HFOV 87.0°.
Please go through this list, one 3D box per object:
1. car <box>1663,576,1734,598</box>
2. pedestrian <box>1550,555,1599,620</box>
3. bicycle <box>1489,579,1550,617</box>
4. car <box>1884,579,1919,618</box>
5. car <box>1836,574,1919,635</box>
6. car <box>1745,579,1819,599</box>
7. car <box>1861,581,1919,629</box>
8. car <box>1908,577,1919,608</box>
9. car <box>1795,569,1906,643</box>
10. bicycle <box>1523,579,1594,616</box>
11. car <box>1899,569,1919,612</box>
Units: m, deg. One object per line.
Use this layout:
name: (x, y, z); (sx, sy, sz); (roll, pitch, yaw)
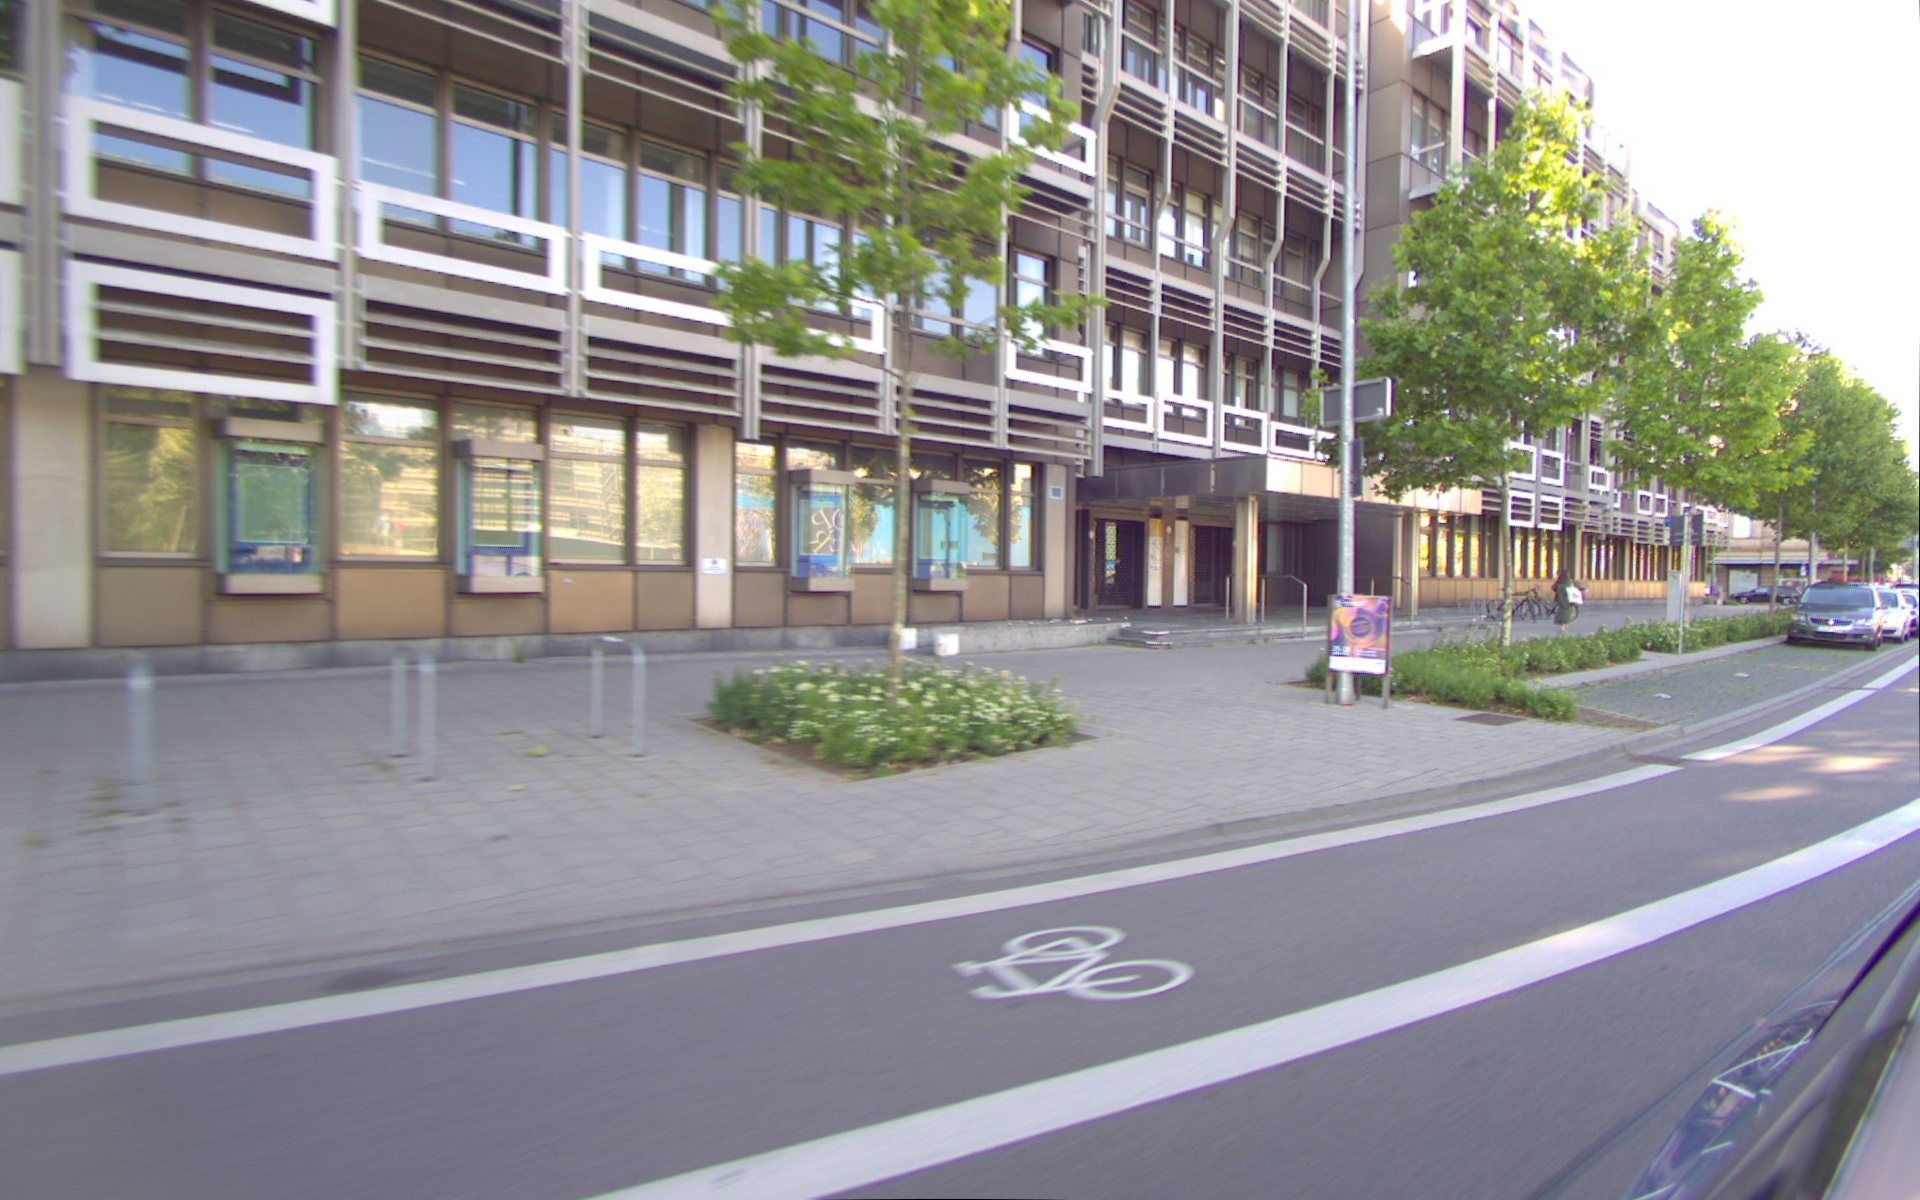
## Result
car: (58.621, -1.044, 80.416); (4.528, 1.615, 1.839); (1, 2, 37)
pedestrian: (16.323, -0.347, 26.885); (1.117, 1.668, 0.790); (-1, 2, -42)
bicycle: (17.360, -0.074, 31.430); (0.385, 1.095, 1.631); (0, 3, -39)
car: (39.431, -0.076, 41.627); (4.131, 1.508, 1.667); (0, 4, -42)
car: (27.725, 0.103, 30.342); (4.146, 1.641, 1.730); (-1, 4, -44)
car: (62.758, -0.880, 77.329); (4.250, 1.467, 1.839); (1, 2, 37)
car: (31.705, 0.154, 33.900); (4.302, 1.466, 1.798); (0, 4, -43)
car: (51.600, -0.368, 53.469); (1.930, 1.618, 4.630); (4, 4, 41)
car: (23.273, 0.101, 26.395); (4.439, 1.709, 1.730); (-1, 4, -44)
bicycle: (19.323, -0.099, 32.686); (1.899, 1.106, 0.386); (4, 3, 43)
car: (46.305, -0.440, 48.479); (1.736, 1.942, 4.322); (4, 4, 45)
